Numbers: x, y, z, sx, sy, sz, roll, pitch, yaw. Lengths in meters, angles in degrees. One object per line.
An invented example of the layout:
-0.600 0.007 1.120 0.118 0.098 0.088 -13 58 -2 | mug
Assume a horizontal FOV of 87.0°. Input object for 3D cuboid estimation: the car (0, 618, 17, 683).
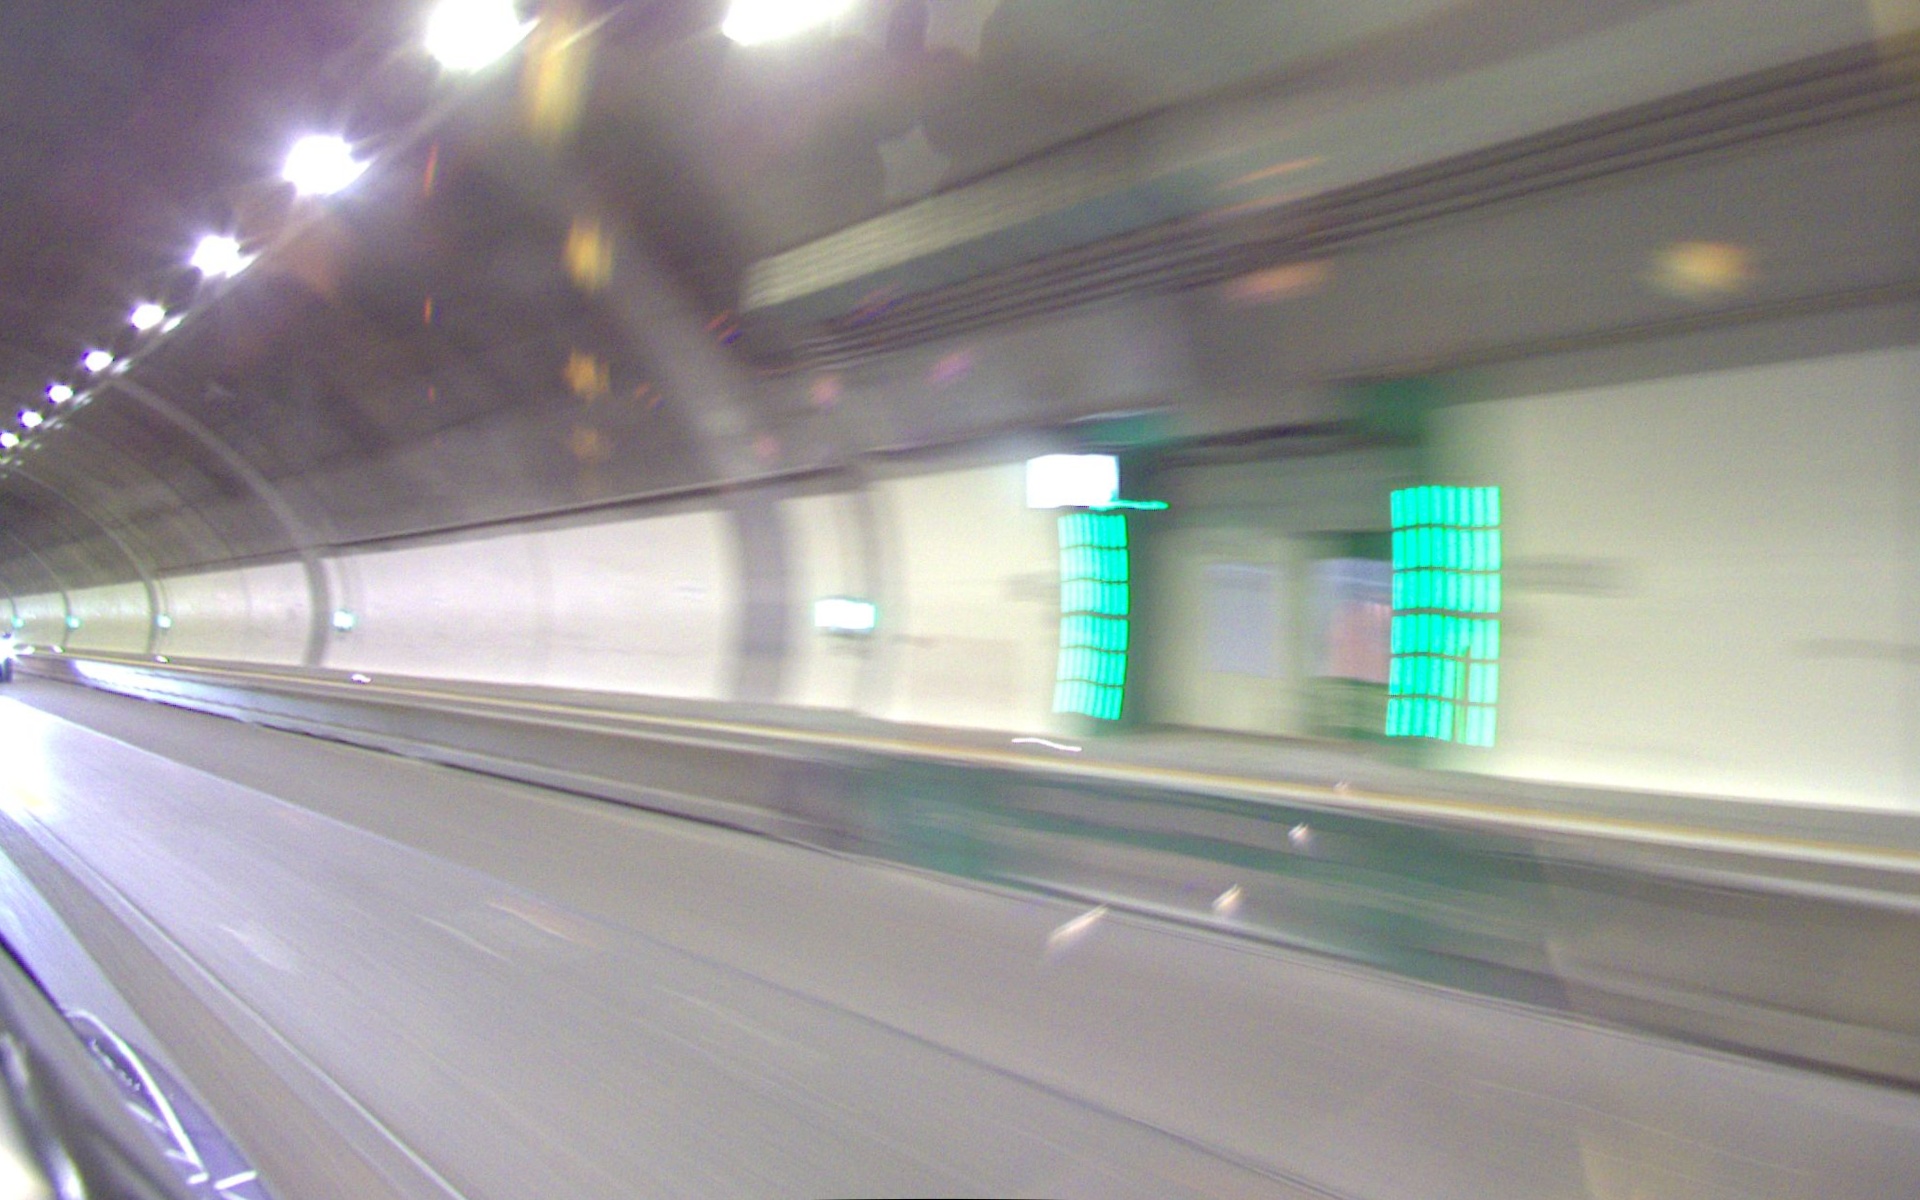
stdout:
-25.403 1.259 25.433 4.739 1.552 1.973 -1 0 41 | car
